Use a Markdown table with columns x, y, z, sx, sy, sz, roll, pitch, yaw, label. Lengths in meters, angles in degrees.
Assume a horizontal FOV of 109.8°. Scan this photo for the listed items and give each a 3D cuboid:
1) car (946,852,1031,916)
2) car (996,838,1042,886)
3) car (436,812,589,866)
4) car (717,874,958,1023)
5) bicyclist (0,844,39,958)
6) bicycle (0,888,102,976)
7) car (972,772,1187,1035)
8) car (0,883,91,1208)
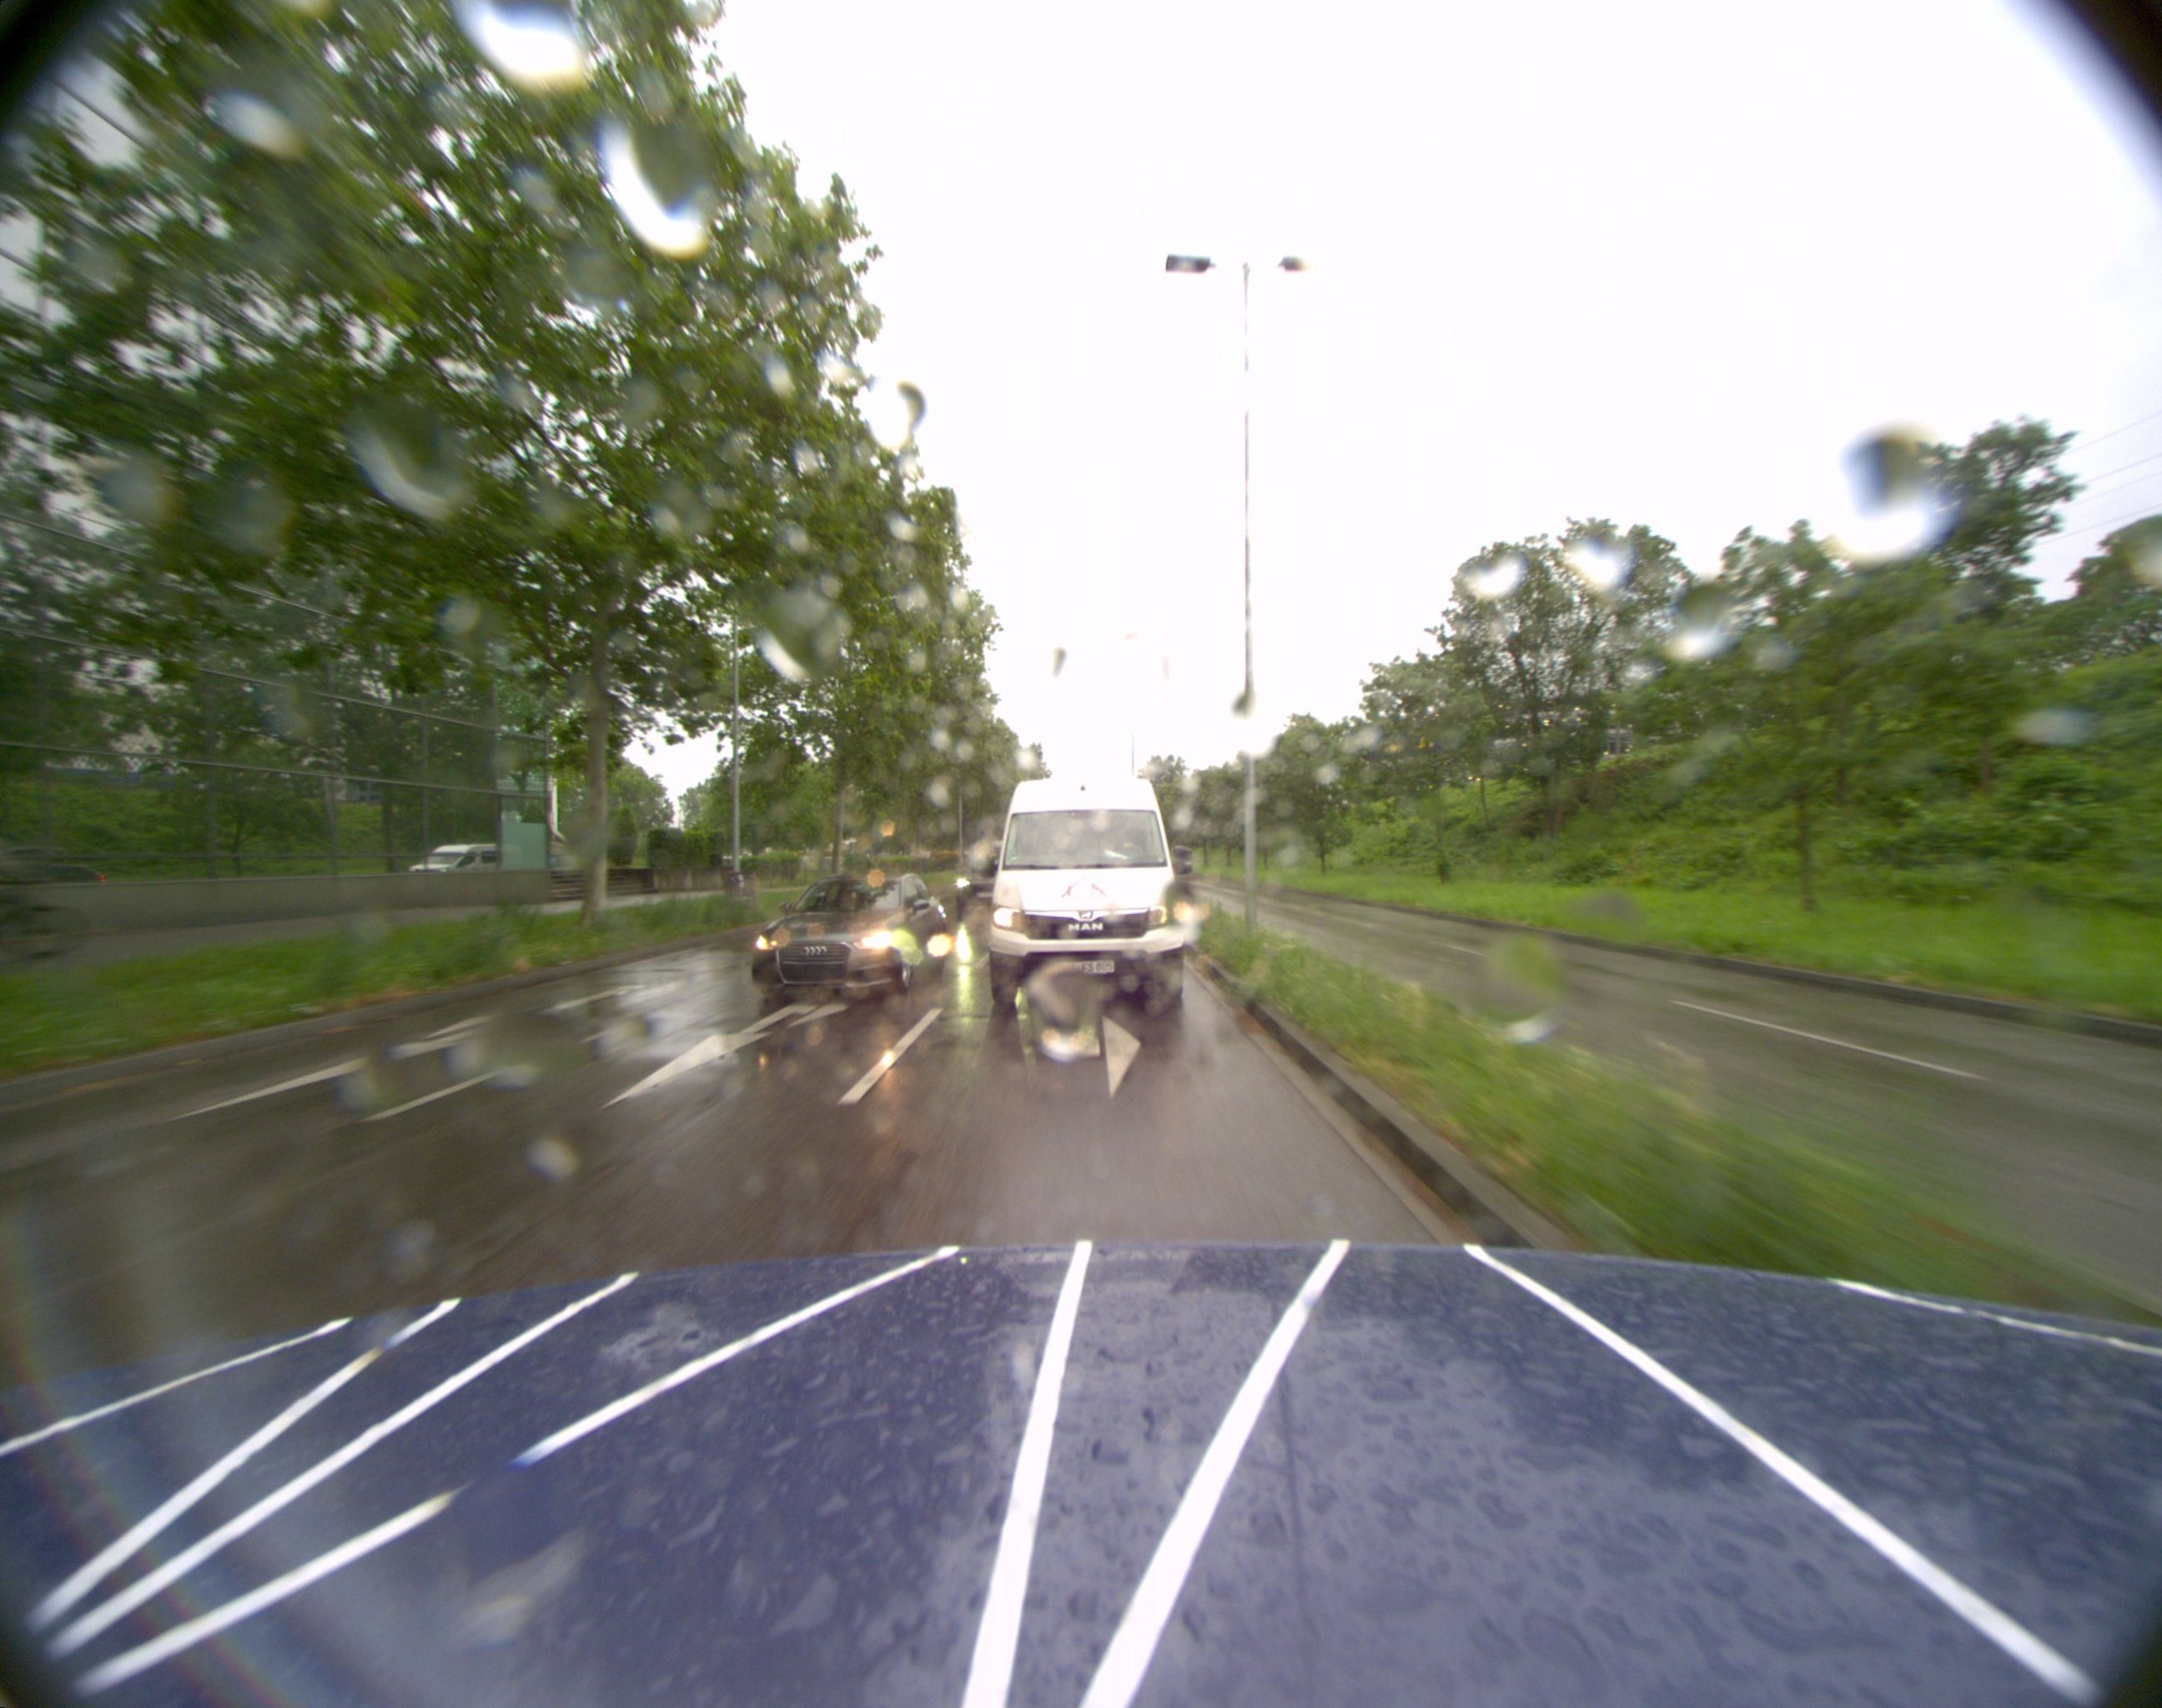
| x | y | z | sx | sy | sz | roll | pitch | yaw | label |
| --- | --- | --- | --- | --- | --- | --- | --- | --- | --- |
| -2.655 | 0.819 | 22.911 | 1.998 | 1.738 | 4.327 | 0 | 0 | 0 | car |
| -3.229 | 0.382 | 40.421 | 1.998 | 2.416 | 4.977 | 0 | 0 | 0 | car |
| -27.257 | -0.761 | 36.696 | 5.706 | 2.442 | 1.995 | -2 | 1 | -36 | car |
| -2.857 | 1.035 | 9.833 | 1.841 | 1.390 | 3.753 | -2 | 0 | 0 | car |
| -14.789 | 0.620 | 10.108 | 0.807 | 1.507 | 0.752 | 2 | 1 | -1 | bicyclist |
| -14.805 | 1.070 | 10.170 | 0.745 | 1.098 | 2.076 | 2 | 1 | -2 | bicycle |
| 0.044 | 0.441 | 9.967 | 1.968 | 2.419 | 5.961 | 0 | 0 | 1 | car |
| -6.447 | 0.987 | 2.094 | 1.904 | 1.622 | 4.170 | 0 | 0 | 2 | car |
